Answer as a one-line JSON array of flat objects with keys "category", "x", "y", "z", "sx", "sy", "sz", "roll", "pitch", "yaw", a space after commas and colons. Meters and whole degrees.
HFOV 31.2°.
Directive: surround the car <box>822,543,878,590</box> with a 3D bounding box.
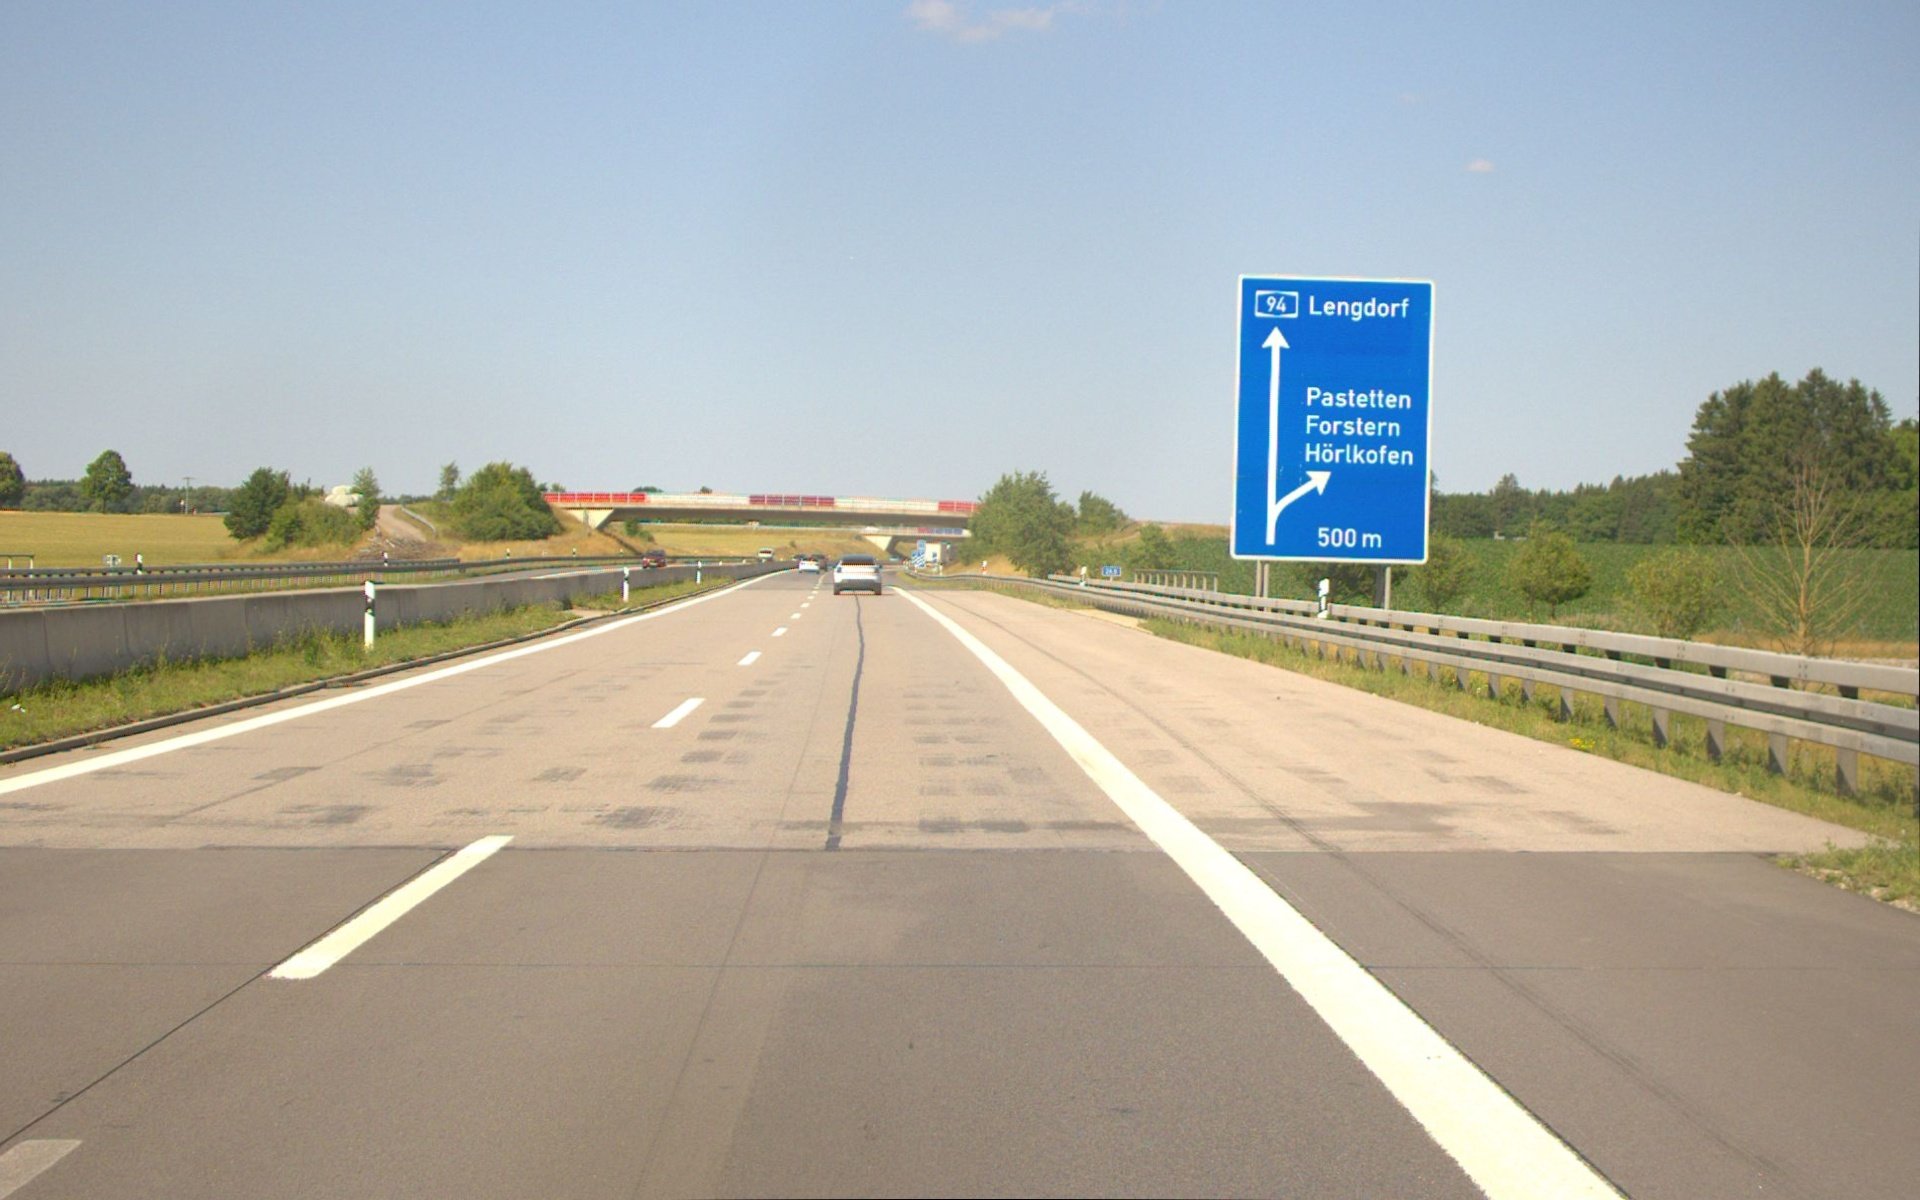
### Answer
[{"category": "car", "x": -4.274, "y": -1.310, "z": 132.932, "sx": 1.993, "sy": 1.725, "sz": 4.870, "roll": 1, "pitch": 1, "yaw": -3}]
